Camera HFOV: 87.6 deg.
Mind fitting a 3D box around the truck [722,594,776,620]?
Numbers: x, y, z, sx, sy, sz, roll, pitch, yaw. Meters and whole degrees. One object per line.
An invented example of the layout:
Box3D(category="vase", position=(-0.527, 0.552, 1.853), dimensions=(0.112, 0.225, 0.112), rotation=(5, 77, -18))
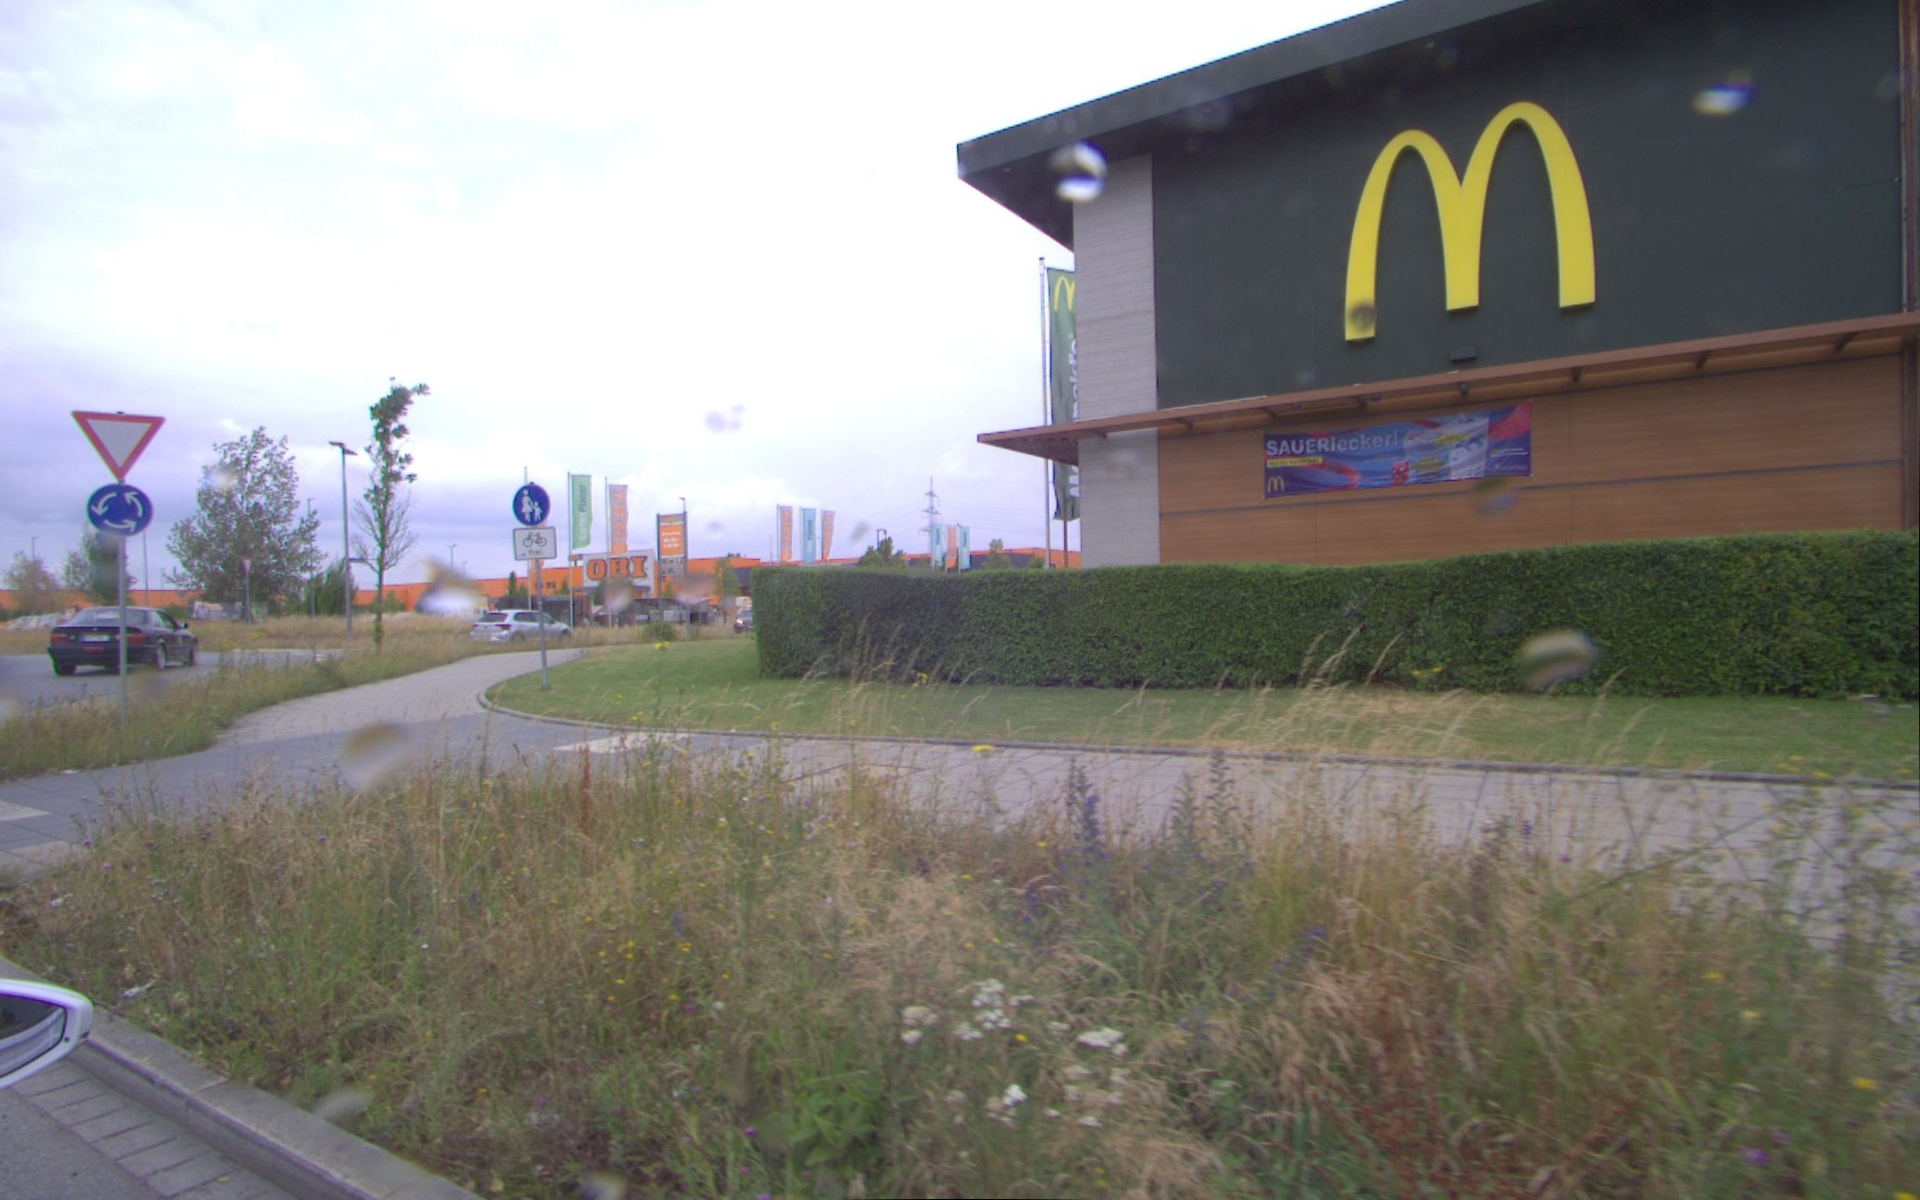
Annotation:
Box3D(category="truck", position=(-22.928, 0.799, 108.804), dimensions=(5.461, 2.515, 2.433), rotation=(-2, -2, 25))

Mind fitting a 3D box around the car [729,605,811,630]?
Box3D(category="car", position=(-11.101, 1.067, 58.754), dimensions=(1.904, 1.422, 4.656), rotation=(-1, -2, 38))

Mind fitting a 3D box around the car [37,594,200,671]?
Box3D(category="car", position=(-17.535, 0.625, 21.079), dimensions=(1.717, 1.422, 3.979), rotation=(1, 0, -27))

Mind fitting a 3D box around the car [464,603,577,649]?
Box3D(category="car", position=(-15.875, 0.890, 36.383), dimensions=(1.779, 1.483, 3.997), rotation=(2, 1, 12))

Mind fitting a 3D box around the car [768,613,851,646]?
Box3D(category="car", position=(-8.040, 1.553, 53.833), dimensions=(1.915, 1.519, 4.752), rotation=(1, 2, 29))
